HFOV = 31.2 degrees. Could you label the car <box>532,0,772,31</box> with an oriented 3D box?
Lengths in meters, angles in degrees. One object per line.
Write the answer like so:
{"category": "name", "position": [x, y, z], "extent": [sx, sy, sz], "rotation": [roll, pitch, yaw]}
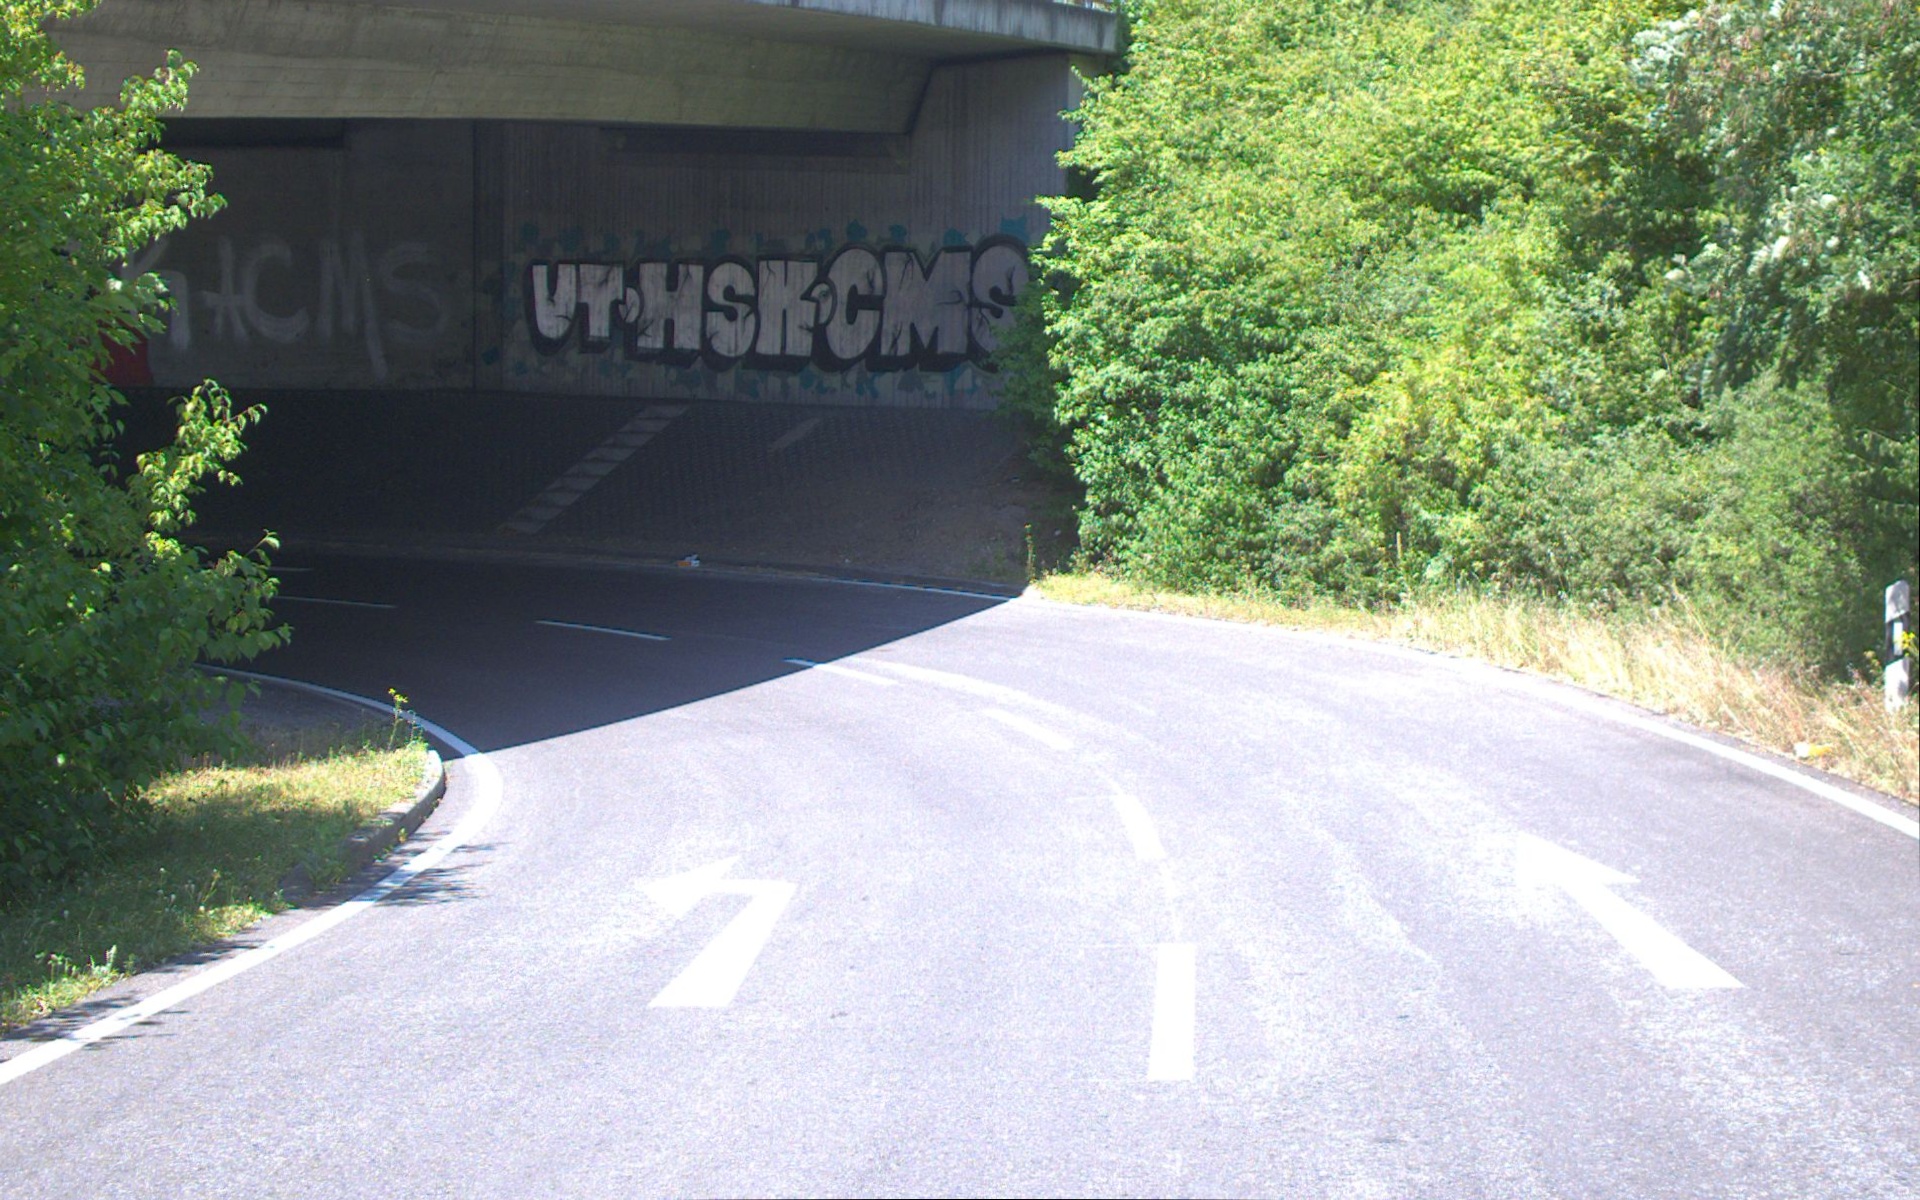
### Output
{"category": "car", "position": [-3.540, -7.385, 40.045], "extent": [1.613, 1.185, 3.477], "rotation": [1, 5, 17]}
